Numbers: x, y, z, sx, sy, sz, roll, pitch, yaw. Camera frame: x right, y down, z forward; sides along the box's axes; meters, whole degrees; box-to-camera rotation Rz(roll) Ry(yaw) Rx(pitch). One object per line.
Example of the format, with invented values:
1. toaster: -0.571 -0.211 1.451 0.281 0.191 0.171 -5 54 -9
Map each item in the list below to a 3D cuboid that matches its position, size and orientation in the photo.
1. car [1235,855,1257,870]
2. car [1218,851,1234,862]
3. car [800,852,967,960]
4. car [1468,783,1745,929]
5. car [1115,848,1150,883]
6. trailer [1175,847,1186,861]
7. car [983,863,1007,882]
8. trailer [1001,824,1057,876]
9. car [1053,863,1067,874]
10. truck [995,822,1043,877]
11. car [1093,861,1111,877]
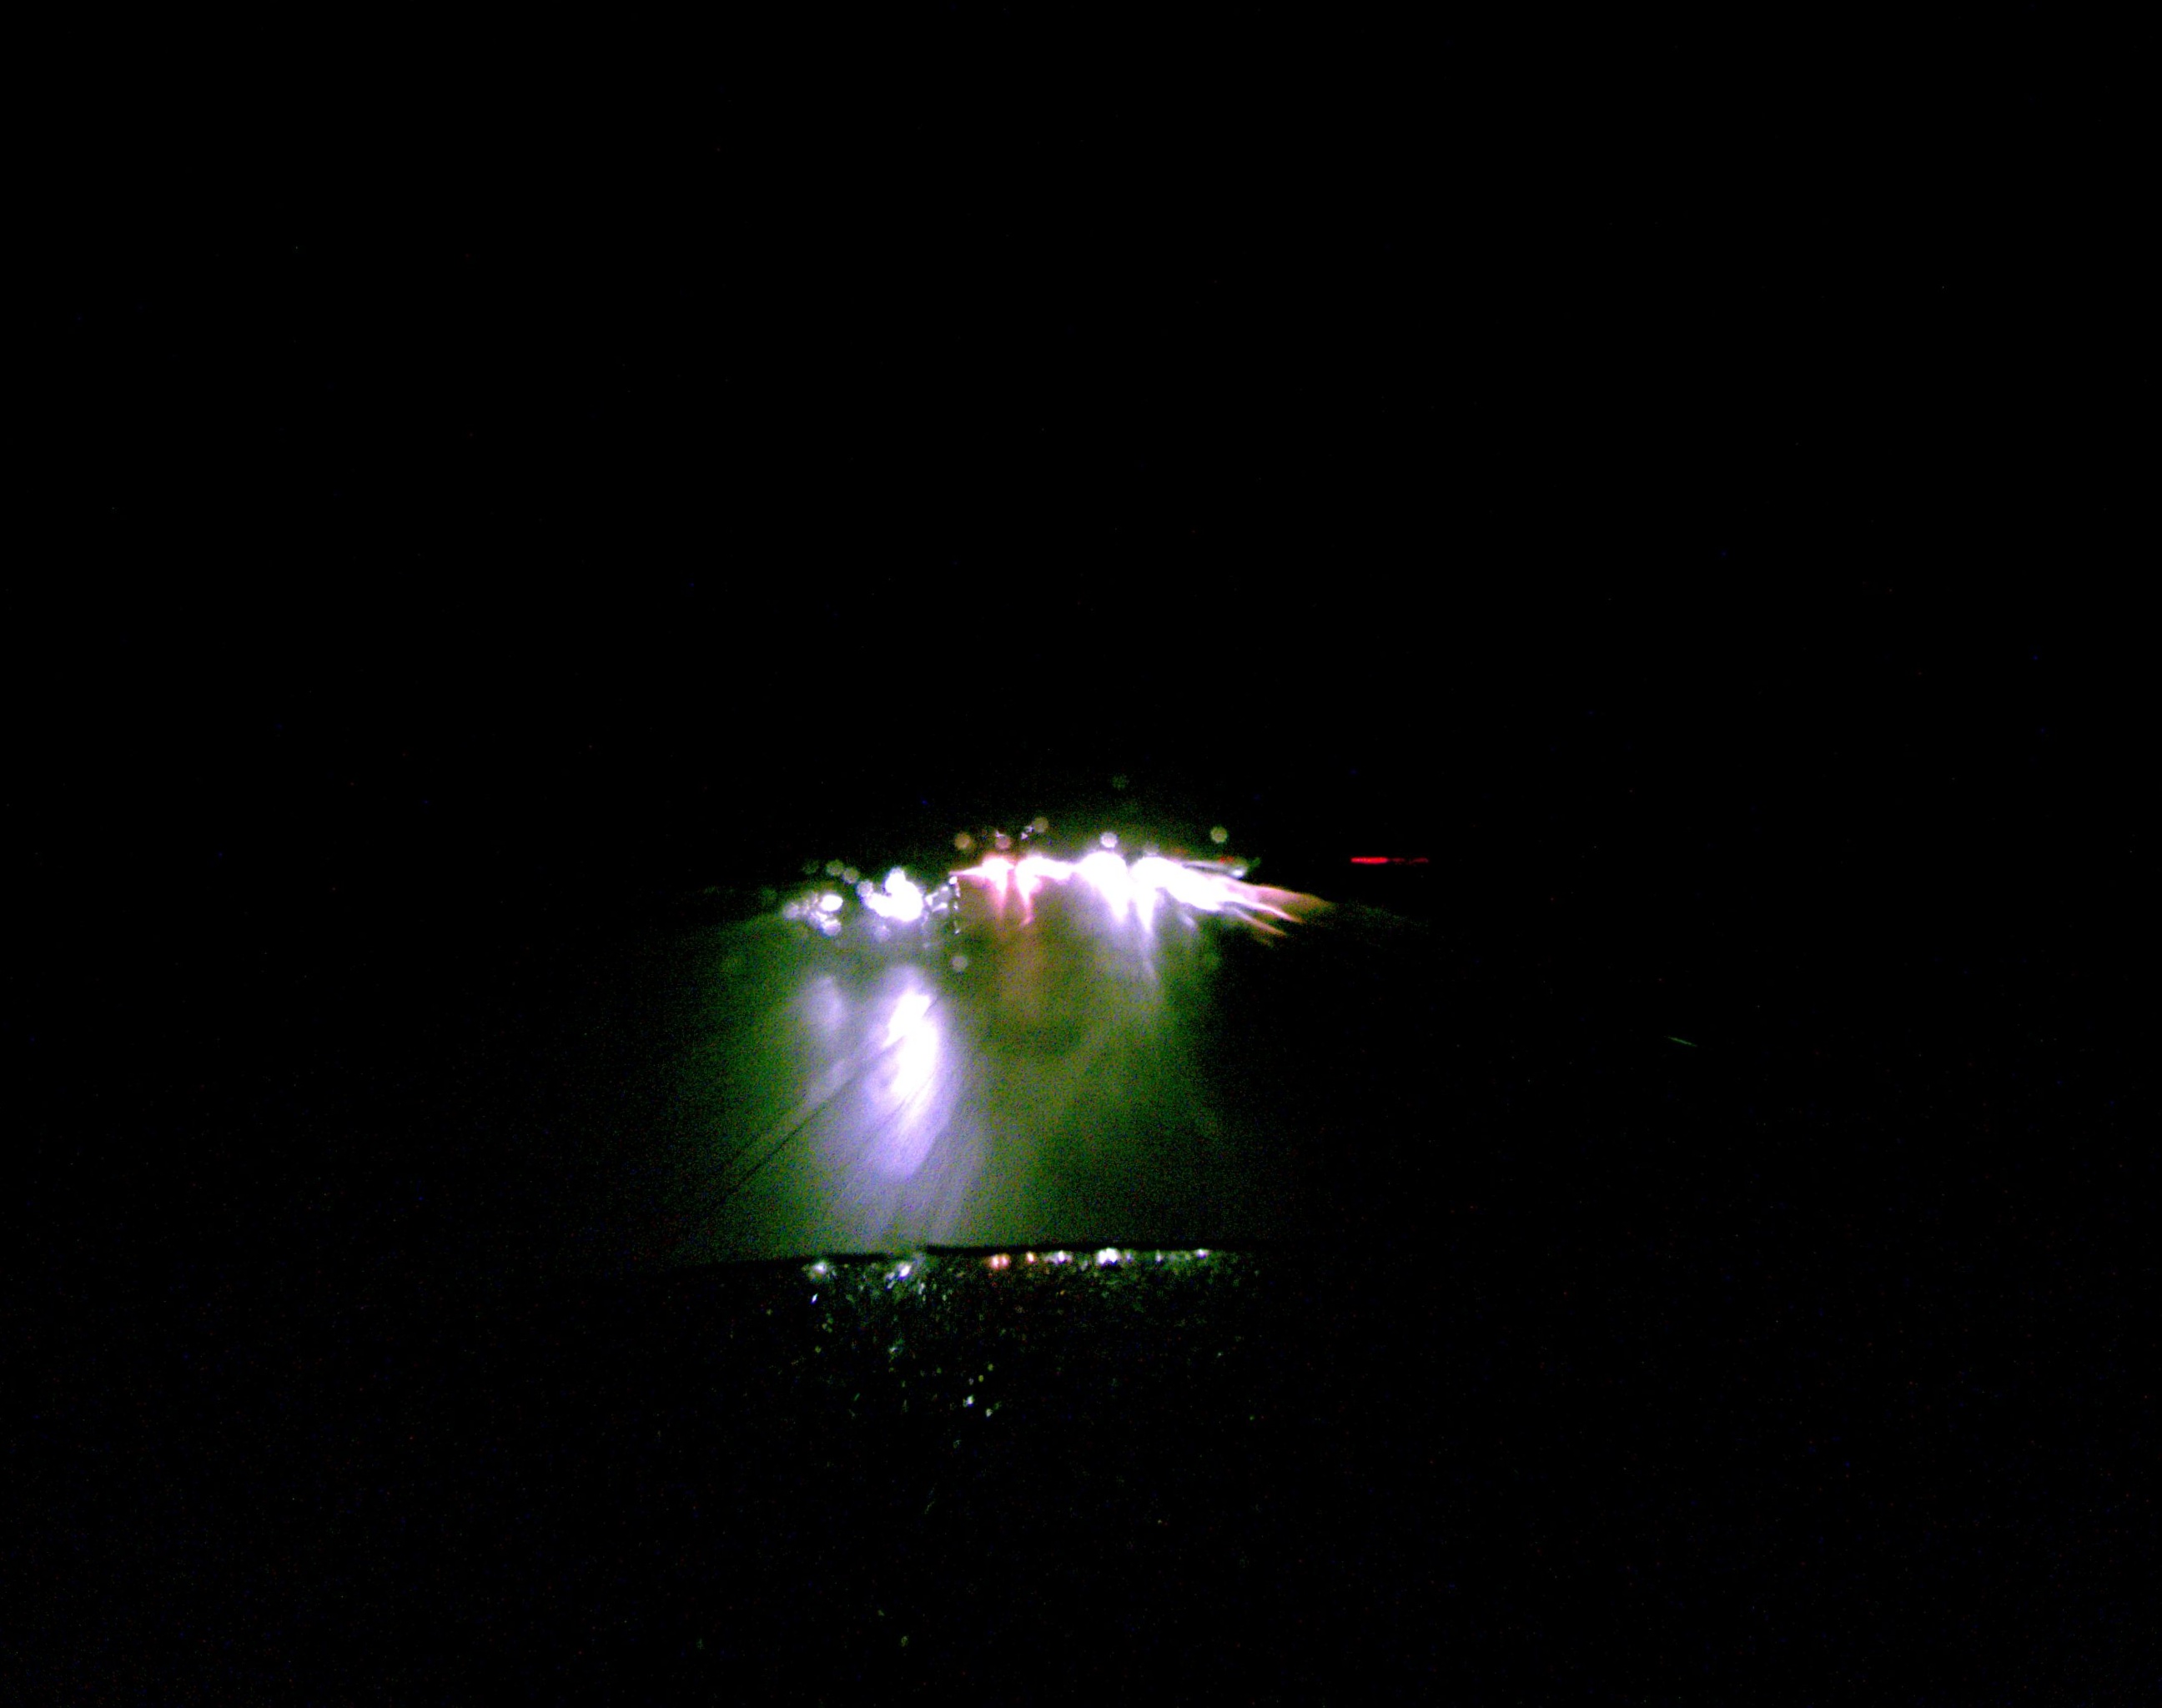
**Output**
1. car: 17.491 0.839 80.654 1.808 1.398 4.290 -4 0 7
2. car: 24.670 0.439 129.247 1.998 1.709 4.289 -4 0 4
3. car: -3.411 0.847 13.884 1.847 1.614 3.679 -3 -1 3
4. car: 8.728 0.031 13.152 1.998 2.002 4.000 -4 0 2
5. car: 3.288 0.699 47.765 1.998 2.001 4.002 -3 -1 6
6. trailer: 33.630 0.004 256.740 2.628 4.518 13.726 -4 0 4
7. car: -9.896 2.101 87.848 1.998 2.002 4.001 -4 0 3
8. trailer: -4.358 -0.346 67.345 2.746 3.955 13.823 -4 0 4
9. car: -3.596 2.473 131.325 1.998 1.615 4.627 -4 0 4
10. truck: -4.859 -0.348 60.317 2.781 3.946 5.199 -4 0 4
11. car: 2.816 1.997 101.873 1.998 2.002 4.001 -4 0 4
